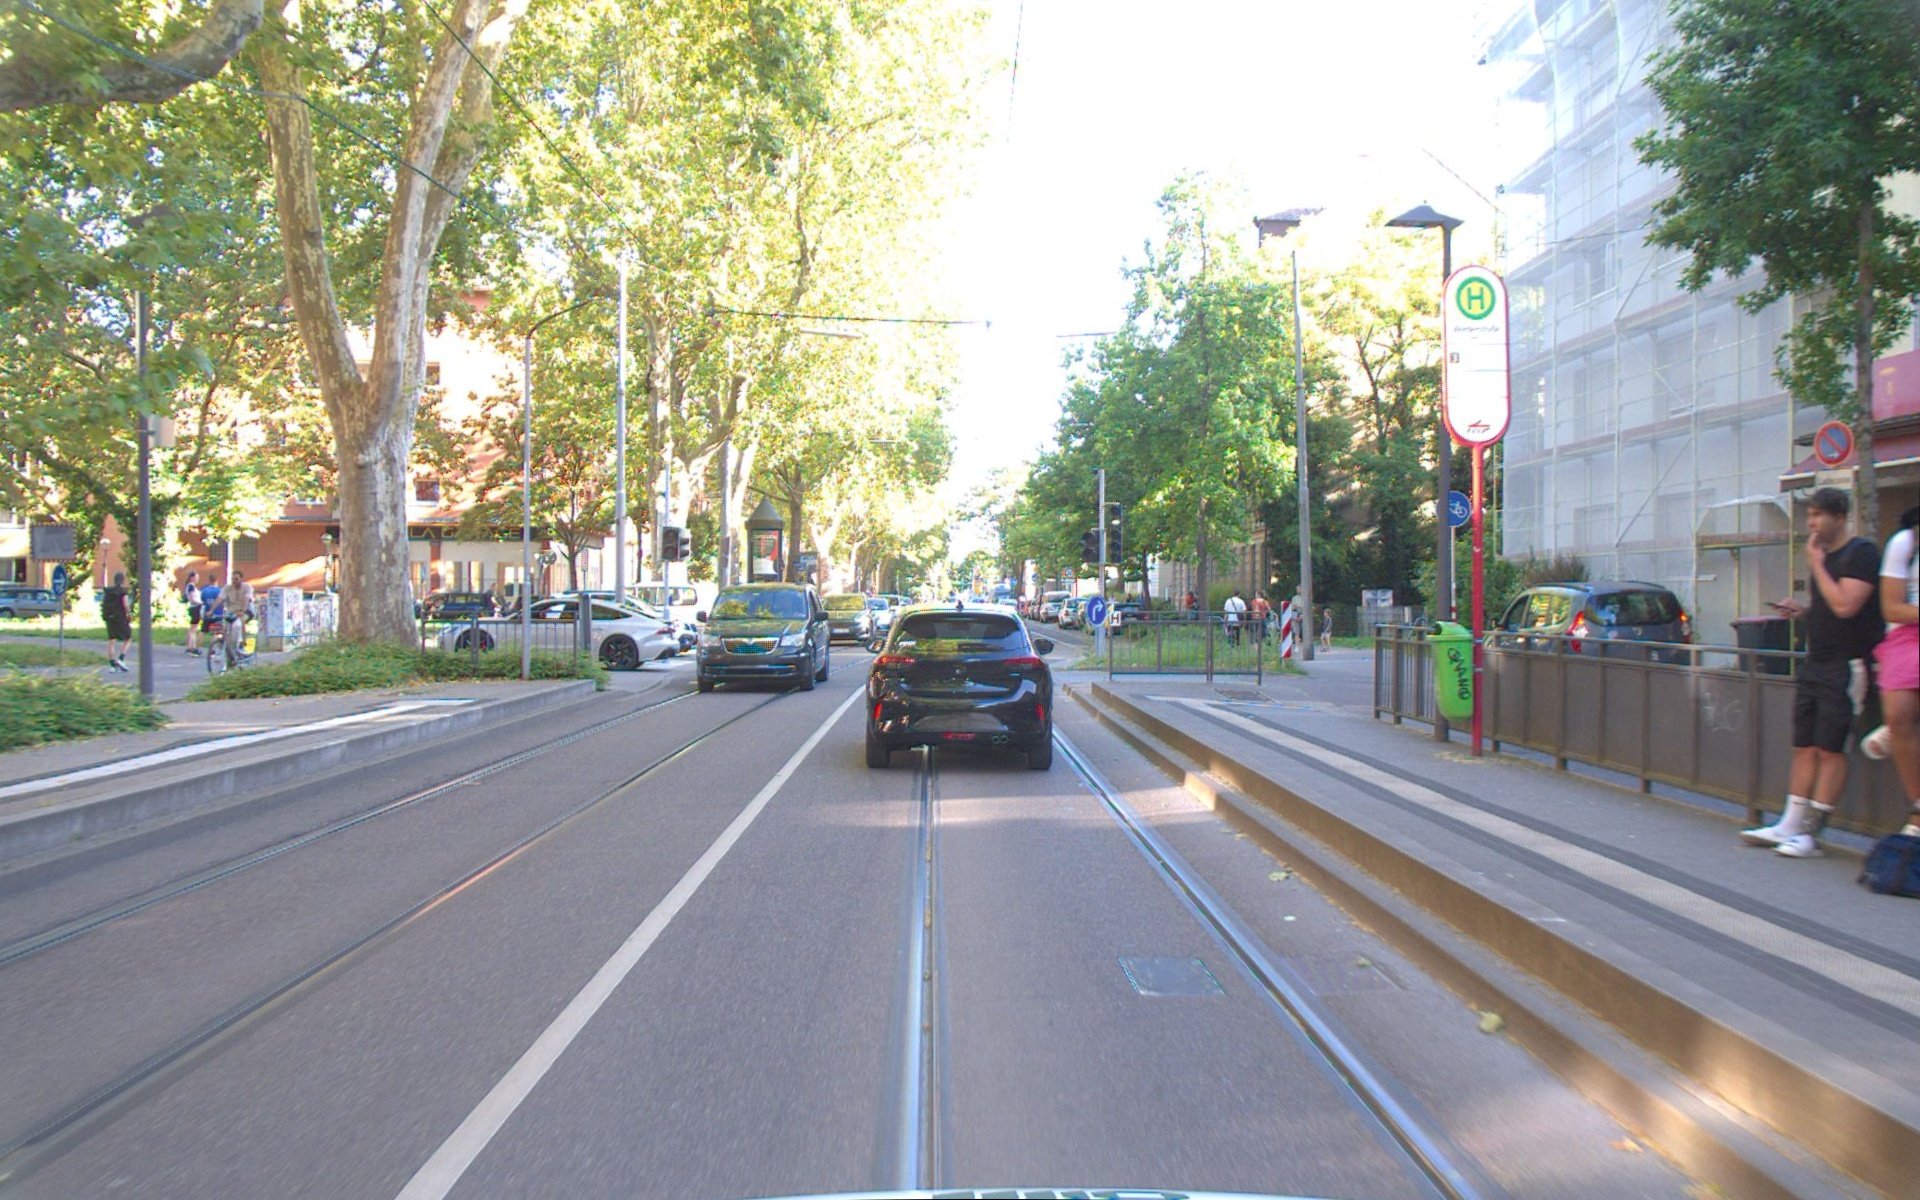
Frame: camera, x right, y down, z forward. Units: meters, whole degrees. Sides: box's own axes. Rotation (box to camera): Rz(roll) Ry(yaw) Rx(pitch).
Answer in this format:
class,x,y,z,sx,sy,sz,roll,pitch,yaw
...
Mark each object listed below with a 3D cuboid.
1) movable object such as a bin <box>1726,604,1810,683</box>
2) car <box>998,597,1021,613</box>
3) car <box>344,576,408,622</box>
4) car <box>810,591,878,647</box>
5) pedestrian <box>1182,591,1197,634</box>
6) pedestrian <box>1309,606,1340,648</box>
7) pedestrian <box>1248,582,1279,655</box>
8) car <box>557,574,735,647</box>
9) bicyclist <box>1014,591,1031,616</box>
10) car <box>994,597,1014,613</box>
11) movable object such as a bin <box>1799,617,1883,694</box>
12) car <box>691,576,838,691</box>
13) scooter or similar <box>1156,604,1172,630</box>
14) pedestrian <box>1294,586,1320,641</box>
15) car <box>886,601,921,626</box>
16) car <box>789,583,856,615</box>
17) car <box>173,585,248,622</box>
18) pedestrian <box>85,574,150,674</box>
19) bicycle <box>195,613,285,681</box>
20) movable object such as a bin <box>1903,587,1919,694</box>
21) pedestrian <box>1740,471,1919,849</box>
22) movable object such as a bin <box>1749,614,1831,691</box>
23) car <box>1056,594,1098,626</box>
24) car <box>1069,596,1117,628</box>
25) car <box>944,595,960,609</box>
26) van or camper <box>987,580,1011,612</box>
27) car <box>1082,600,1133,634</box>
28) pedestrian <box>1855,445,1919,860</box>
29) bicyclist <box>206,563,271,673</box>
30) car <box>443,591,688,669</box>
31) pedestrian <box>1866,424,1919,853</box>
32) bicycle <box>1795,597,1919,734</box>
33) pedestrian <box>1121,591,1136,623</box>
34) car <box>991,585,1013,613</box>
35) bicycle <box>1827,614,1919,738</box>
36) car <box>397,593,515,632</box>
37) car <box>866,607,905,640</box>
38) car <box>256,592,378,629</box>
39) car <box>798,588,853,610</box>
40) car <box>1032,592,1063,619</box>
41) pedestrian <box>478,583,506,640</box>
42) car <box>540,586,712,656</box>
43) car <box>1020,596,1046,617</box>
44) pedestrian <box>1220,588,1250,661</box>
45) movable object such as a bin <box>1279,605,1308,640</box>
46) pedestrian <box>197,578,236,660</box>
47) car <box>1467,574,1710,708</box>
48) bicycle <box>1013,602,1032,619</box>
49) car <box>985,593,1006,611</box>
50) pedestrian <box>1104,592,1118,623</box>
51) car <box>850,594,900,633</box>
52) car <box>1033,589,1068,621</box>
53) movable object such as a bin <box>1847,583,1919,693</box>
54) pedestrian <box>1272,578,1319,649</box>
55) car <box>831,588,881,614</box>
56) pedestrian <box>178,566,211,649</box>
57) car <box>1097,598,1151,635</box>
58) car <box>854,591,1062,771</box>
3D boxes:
class,x,y,z,sx,sy,sz,roll,pitch,yaw
movable object such as a bin,11.956,0.635,24.487,0.863,1.130,0.696,-1,0,-3
car,4.579,0.475,154.228,1.846,1.459,4.529,-2,0,-1
car,-26.993,-0.044,76.598,1.957,2.038,4.908,1,0,-10
car,-3.631,0.586,52.382,1.869,1.666,4.319,-1,0,-1
pedestrian,9.927,0.525,71.485,0.586,1.824,0.729,1,0,10
pedestrian,10.044,0.741,45.548,0.661,1.138,0.659,1,0,-3
pedestrian,7.769,0.469,42.375,0.710,1.824,0.969,-2,0,10
car,-8.487,0.291,45.016,4.479,1.866,1.937,1,0,-3
bicyclist,3.943,0.227,104.387,0.939,1.525,1.093,1,0,-3
car,4.383,0.516,164.319,1.767,1.460,3.999,-1,-1,-1
movable object such as a bin,13.287,0.830,24.958,0.863,1.130,0.696,-1,0,-3
car,-3.230,0.523,28.254,1.953,1.746,5.142,1,0,-1
scooter or similar,9.985,0.832,80.968,0.564,1.268,1.335,1,0,0
pedestrian,11.290,0.431,53.834,0.607,1.756,0.552,1,0,-14
car,-3.440,0.803,100.383,1.631,1.469,3.464,1,0,-11
car,-10.353,-0.046,124.910,4.934,2.299,2.084,1,0,-4
car,-34.685,0.161,76.650,1.908,1.646,4.475,1,0,-8
pedestrian,-14.579,0.407,28.646,0.695,1.702,0.779,1,0,-1
bicycle,-12.193,0.780,28.067,0.700,1.082,1.839,1,0,1
movable object such as a bin,12.859,0.516,21.311,0.905,1.374,0.824,-1,0,-3
pedestrian,4.336,0.288,8.148,0.674,1.786,0.579,1,0,-7
movable object such as a bin,12.551,0.786,25.027,0.863,1.130,0.696,-1,0,-3
car,6.240,0.539,88.720,1.846,1.595,4.241,-2,0,-1
car,6.711,0.584,84.018,1.846,1.492,4.591,-2,0,-3
car,-1.104,0.255,226.536,2.208,1.873,5.529,-1,0,-1
van or camper,4.180,-0.407,178.088,2.208,3.272,5.529,-1,0,-1
car,6.610,0.751,74.572,1.846,1.392,4.106,-2,0,-1
pedestrian,4.419,0.232,7.463,0.482,1.801,0.704,1,0,14
bicyclist,-12.193,0.299,27.964,0.685,1.819,0.839,1,0,1
car,-8.111,0.617,34.360,4.671,1.486,1.953,1,0,-5
pedestrian,4.286,0.159,6.691,0.828,1.730,0.692,1,0,-7
bicycle,9.298,0.585,15.736,2.159,1.231,1.029,-2,0,-1
pedestrian,9.373,0.398,91.784,0.711,1.739,0.856,1,0,-1
car,4.314,-0.141,171.525,2.043,2.820,4.696,-1,0,-1
bicycle,10.010,0.767,16.721,0.675,1.231,2.190,-1,0,-28
car,-21.245,0.522,69.846,4.440,1.515,1.857,1,0,-7
car,-3.705,1.151,82.786,1.778,1.596,4.115,-1,0,-1
car,-26.756,0.436,68.944,4.385,1.475,1.820,1,0,-9
car,-10.384,-0.071,127.848,4.214,1.635,1.924,1,0,-4
car,5.980,0.381,113.508,1.847,1.797,4.677,0,0,-1
pedestrian,-15.312,0.388,54.159,0.630,1.841,0.752,1,0,4
car,-8.549,0.531,42.666,4.056,1.675,1.901,1,0,-3
car,5.658,0.498,128.076,1.668,1.448,3.977,-3,0,-1
pedestrian,7.029,0.611,42.298,0.710,1.824,0.854,-2,0,10
movable object such as a bin,11.055,0.738,54.801,0.653,1.146,0.955,1,0,-8
pedestrian,-15.442,0.392,34.356,0.686,1.688,0.557,1,-1,-28
car,8.666,0.500,23.245,1.726,1.650,4.442,-2,1,0
bicycle,3.940,0.666,104.414,0.948,1.016,2.582,1,0,-2
car,3.964,0.234,185.279,2.208,1.873,5.529,-1,0,-1
pedestrian,8.357,0.403,91.795,0.711,1.722,0.957,1,0,3
car,-3.379,0.542,66.343,1.739,1.486,4.204,1,0,0
car,5.696,0.304,104.536,1.846,1.883,4.966,-2,0,-1
movable object such as a bin,12.634,0.496,22.184,0.979,1.421,0.824,-1,0,-3
pedestrian,9.220,0.356,45.459,0.854,1.918,0.993,1,0,-19
car,-10.714,0.070,170.611,4.934,2.416,2.081,-3,0,-1
pedestrian,-16.220,0.151,35.034,0.526,1.735,0.586,1,-1,-32
car,6.728,0.669,68.039,1.639,1.437,3.841,-2,0,-2
car,-0.038,0.689,15.910,1.727,1.486,3.949,1,0,-1
